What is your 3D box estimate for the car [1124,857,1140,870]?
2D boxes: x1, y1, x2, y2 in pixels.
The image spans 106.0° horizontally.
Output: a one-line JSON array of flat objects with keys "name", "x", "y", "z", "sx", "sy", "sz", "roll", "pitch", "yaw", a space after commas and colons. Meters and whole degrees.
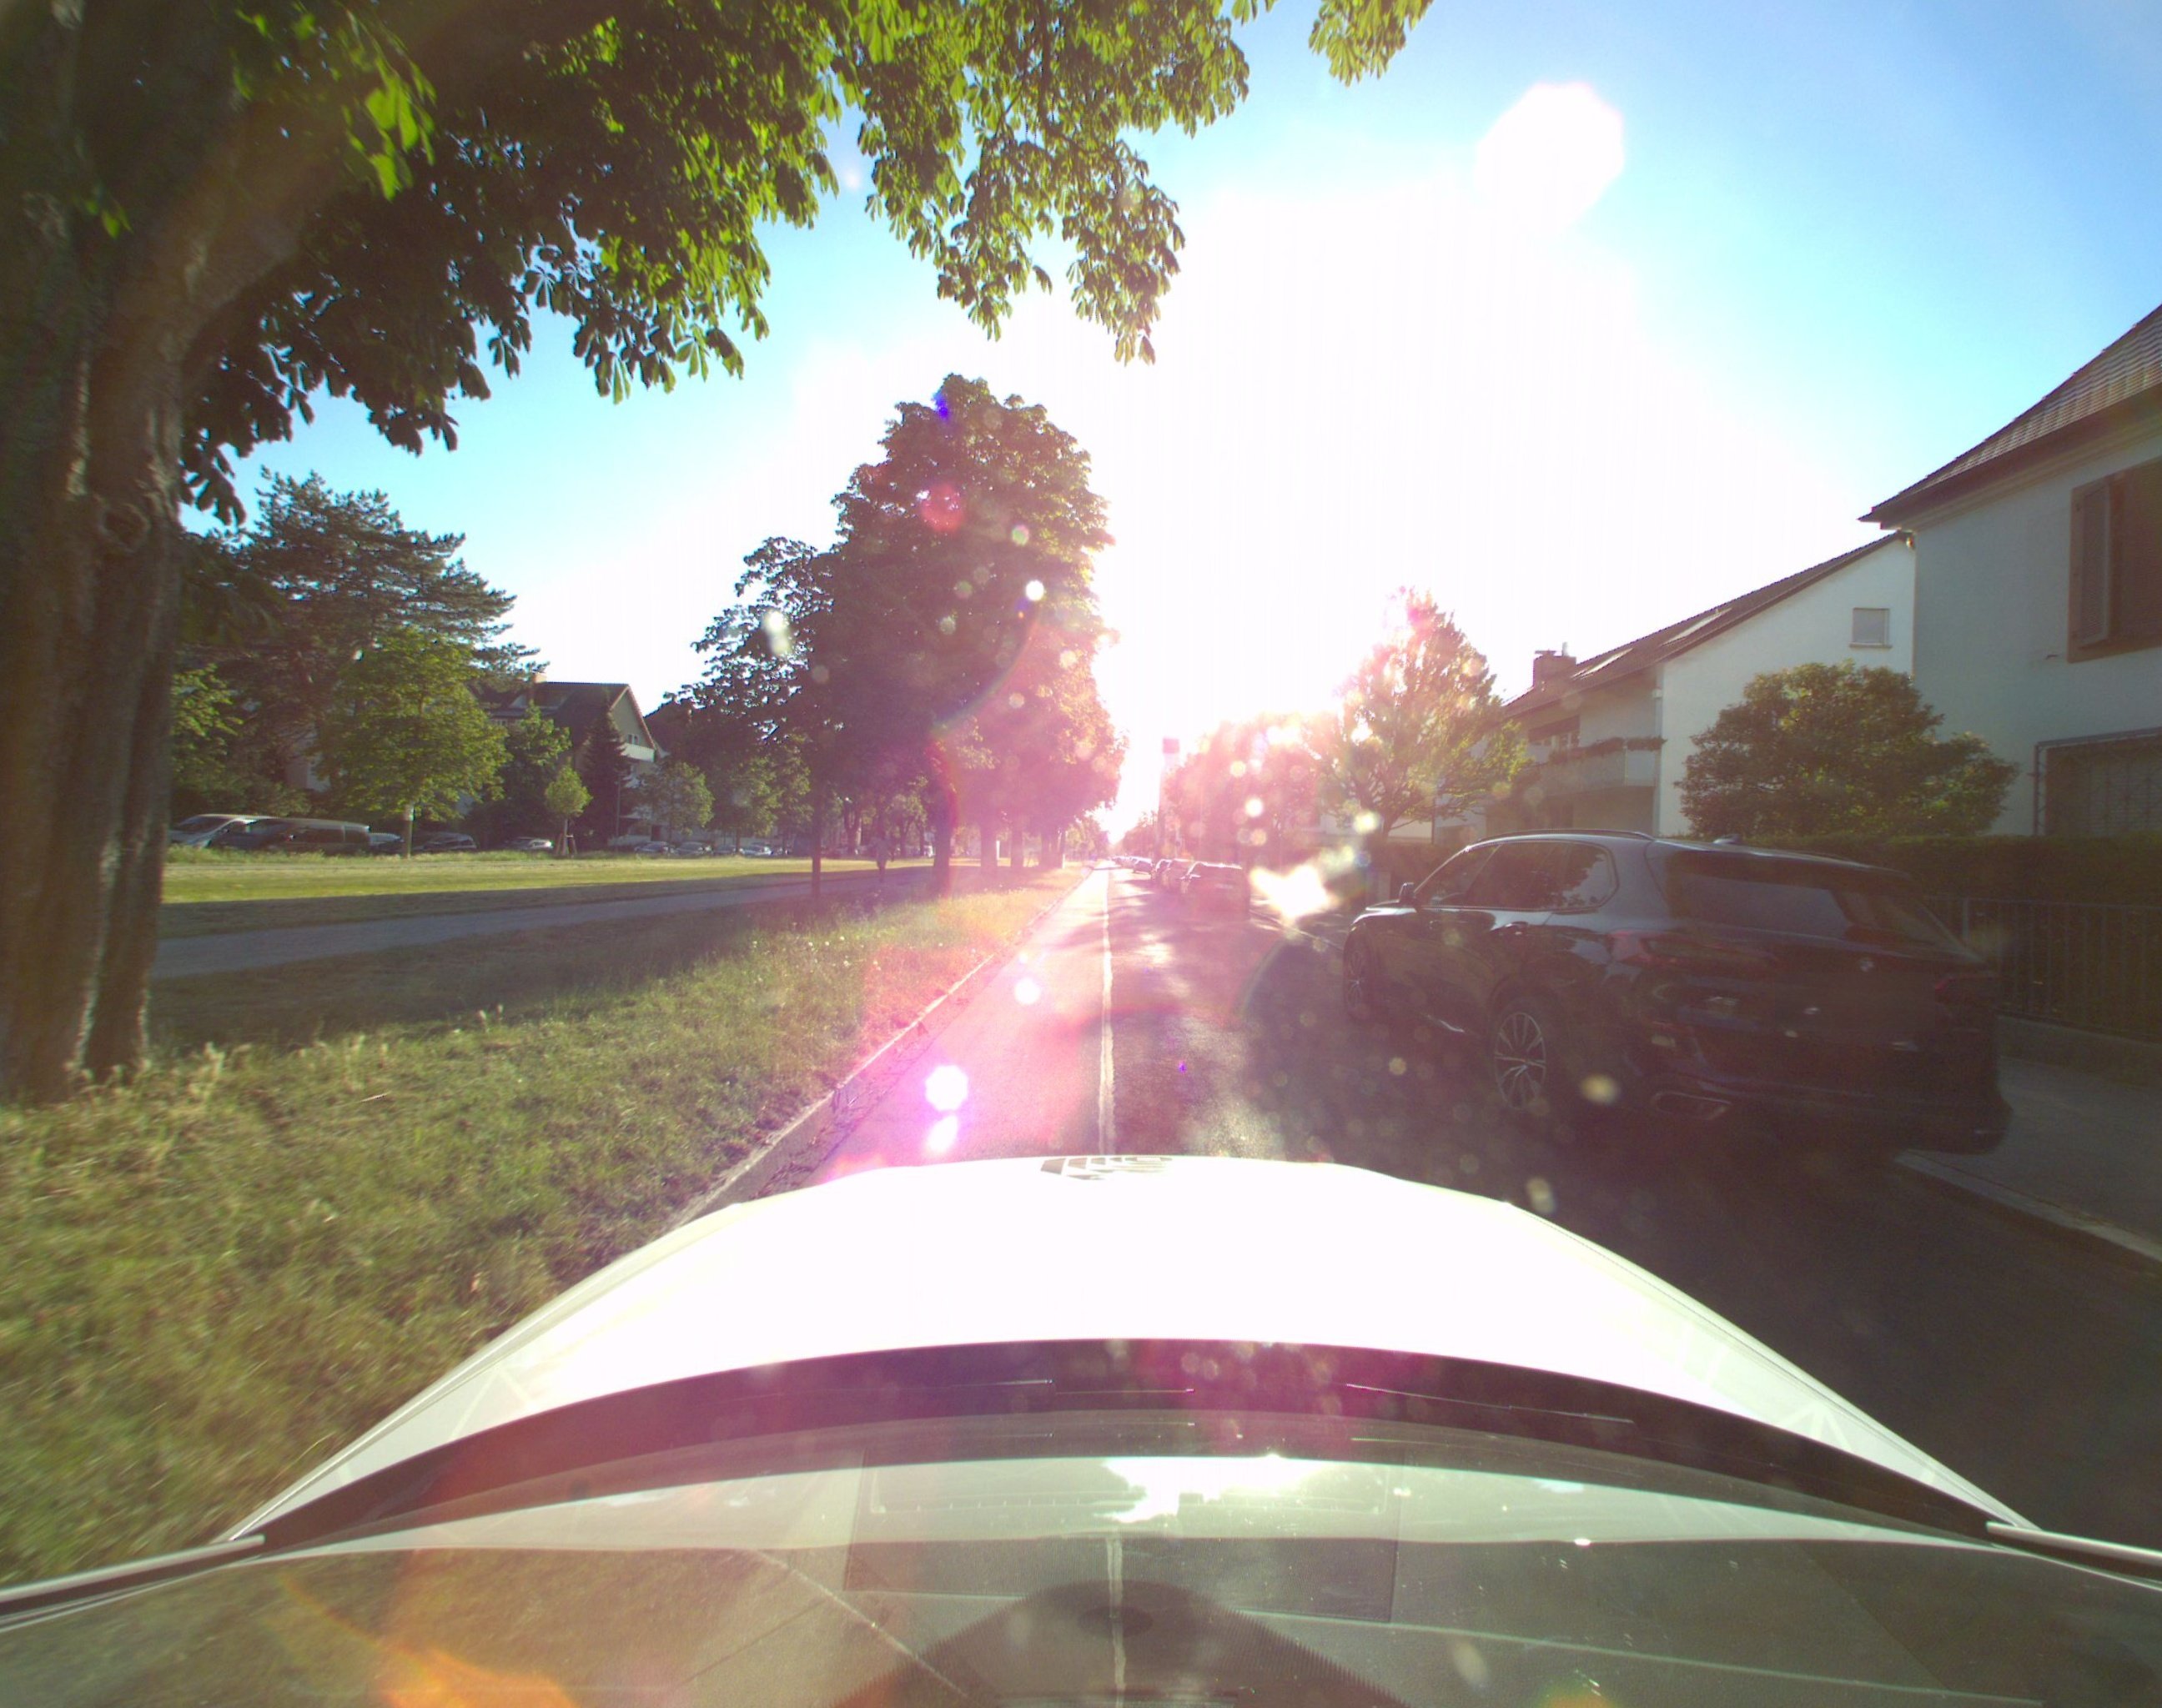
[{"name": "car", "x": 6.352, "y": 1.167, "z": 101.624, "sx": 1.752, "sy": 1.605, "sz": 4.359, "roll": 2, "pitch": -1, "yaw": 1}]

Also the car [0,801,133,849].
[{"name": "car", "x": -38.699, "y": -1.063, "z": 30.250, "sx": 1.750, "sy": 1.623, "sz": 4.307, "roll": 3, "pitch": -1, "yaw": 2}]

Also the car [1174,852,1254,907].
[{"name": "car", "x": 4.084, "y": 0.772, "z": 25.683, "sx": 1.787, "sy": 1.492, "sz": 4.675, "roll": 3, "pitch": -1, "yaw": 1}]

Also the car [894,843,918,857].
[{"name": "car", "x": -28.947, "y": -0.681, "z": 134.802, "sx": 2.524, "sy": 2.236, "sz": 5.462, "roll": 2, "pitch": 0, "yaw": 2}]

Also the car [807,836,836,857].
[{"name": "car", "x": -35.679, "y": -0.953, "z": 112.014, "sx": 1.986, "sy": 2.673, "sz": 5.189, "roll": 2, "pitch": -1, "yaw": 2}]

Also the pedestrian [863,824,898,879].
[{"name": "pedestrian", "x": -6.586, "y": -0.088, "z": 26.755, "sx": 0.720, "sy": 1.758, "sz": 0.995, "roll": 2, "pitch": 0, "yaw": 8}]

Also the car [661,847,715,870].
[{"name": "car", "x": -31.463, "y": 0.355, "z": 65.327, "sx": 1.985, "sy": 1.684, "sz": 4.004, "roll": 3, "pitch": -1, "yaw": 4}]

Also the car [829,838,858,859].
[{"name": "car", "x": -35.538, "y": -0.756, "z": 122.201, "sx": 2.428, "sy": 2.922, "sz": 5.820, "roll": 0, "pitch": -1, "yaw": 2}]

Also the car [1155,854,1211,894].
[{"name": "car", "x": 4.452, "y": 0.866, "z": 36.055, "sx": 1.687, "sy": 1.483, "sz": 3.926, "roll": 6, "pitch": -1, "yaw": -2}]

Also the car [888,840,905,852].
[{"name": "car", "x": -36.198, "y": -1.514, "z": 159.956, "sx": 1.986, "sy": 2.014, "sz": 4.485, "roll": -3, "pitch": -2, "yaw": 1}]

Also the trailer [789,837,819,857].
[{"name": "trailer", "x": -35.888, "y": -0.924, "z": 105.659, "sx": 1.986, "sy": 2.428, "sz": 4.726, "roll": 2, "pitch": -1, "yaw": 2}]

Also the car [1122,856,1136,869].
[{"name": "car", "x": 6.367, "y": 1.145, "z": 107.729, "sx": 1.679, "sy": 1.651, "sz": 4.101, "roll": 2, "pitch": 0, "yaw": 2}]

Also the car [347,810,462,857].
[{"name": "car", "x": -32.818, "y": -0.932, "z": 39.677, "sx": 1.986, "sy": 2.014, "sz": 4.002, "roll": 4, "pitch": -1, "yaw": 2}]

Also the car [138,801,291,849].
[{"name": "car", "x": -38.028, "y": -1.200, "z": 35.930, "sx": 1.809, "sy": 1.838, "sz": 4.410, "roll": 3, "pitch": -1, "yaw": 2}]

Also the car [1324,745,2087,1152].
[{"name": "car", "x": 3.541, "y": 0.447, "z": 6.094, "sx": 1.987, "sy": 1.737, "sz": 4.864, "roll": 3, "pitch": -1, "yaw": 0}]

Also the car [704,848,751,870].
[{"name": "car", "x": -30.962, "y": 0.459, "z": 71.547, "sx": 1.985, "sy": 1.721, "sz": 4.258, "roll": 3, "pitch": -1, "yaw": 3}]

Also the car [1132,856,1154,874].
[{"name": "car", "x": 5.930, "y": 1.058, "z": 78.395, "sx": 1.750, "sy": 1.420, "sz": 4.074, "roll": 8, "pitch": 0, "yaw": 2}]

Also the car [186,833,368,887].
[{"name": "car", "x": -32.582, "y": 0.232, "z": 33.288, "sx": 1.985, "sy": 1.940, "sz": 5.249, "roll": 2, "pitch": 0, "yaw": 3}]

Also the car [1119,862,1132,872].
[{"name": "car", "x": 7.198, "y": 2.079, "z": 132.244, "sx": 1.755, "sy": 1.521, "sz": 4.000, "roll": 4, "pitch": -1, "yaw": 1}]

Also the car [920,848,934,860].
[{"name": "car", "x": -33.755, "y": 0.045, "z": 178.433, "sx": 1.986, "sy": 2.410, "sz": 4.365, "roll": 0, "pitch": -1, "yaw": 2}]

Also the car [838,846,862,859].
[{"name": "car", "x": -30.023, "y": -0.167, "z": 105.851, "sx": 1.678, "sy": 1.560, "sz": 4.317, "roll": 2, "pitch": -1, "yaw": 3}]

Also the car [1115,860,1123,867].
[{"name": "car", "x": 9.427, "y": 2.287, "z": 203.460, "sx": 1.972, "sy": 1.683, "sz": 4.003, "roll": 2, "pitch": -1, "yaw": 3}]

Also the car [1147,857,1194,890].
[{"name": "car", "x": 4.443, "y": 0.941, "z": 41.068, "sx": 1.744, "sy": 1.477, "sz": 4.286, "roll": 4, "pitch": -1, "yaw": -1}]

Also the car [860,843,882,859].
[{"name": "car", "x": -29.927, "y": -0.473, "z": 116.204, "sx": 1.678, "sy": 2.176, "sz": 4.317, "roll": 3, "pitch": 0, "yaw": 3}]

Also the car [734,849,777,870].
[{"name": "car", "x": -30.728, "y": 0.535, "z": 76.974, "sx": 1.985, "sy": 1.860, "sz": 4.258, "roll": 3, "pitch": -1, "yaw": 3}]

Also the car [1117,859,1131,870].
[{"name": "car", "x": 6.420, "y": 1.541, "z": 121.965, "sx": 1.752, "sy": 1.605, "sz": 4.359, "roll": 2, "pitch": -1, "yaw": 1}]

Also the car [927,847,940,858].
[{"name": "car", "x": -33.463, "y": -0.330, "z": 184.584, "sx": 1.986, "sy": 2.410, "sz": 4.365, "roll": 0, "pitch": -1, "yaw": 2}]

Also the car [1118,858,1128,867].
[{"name": "car", "x": 8.739, "y": 1.764, "z": 169.187, "sx": 1.985, "sy": 1.629, "sz": 4.003, "roll": 2, "pitch": -1, "yaw": 3}]
